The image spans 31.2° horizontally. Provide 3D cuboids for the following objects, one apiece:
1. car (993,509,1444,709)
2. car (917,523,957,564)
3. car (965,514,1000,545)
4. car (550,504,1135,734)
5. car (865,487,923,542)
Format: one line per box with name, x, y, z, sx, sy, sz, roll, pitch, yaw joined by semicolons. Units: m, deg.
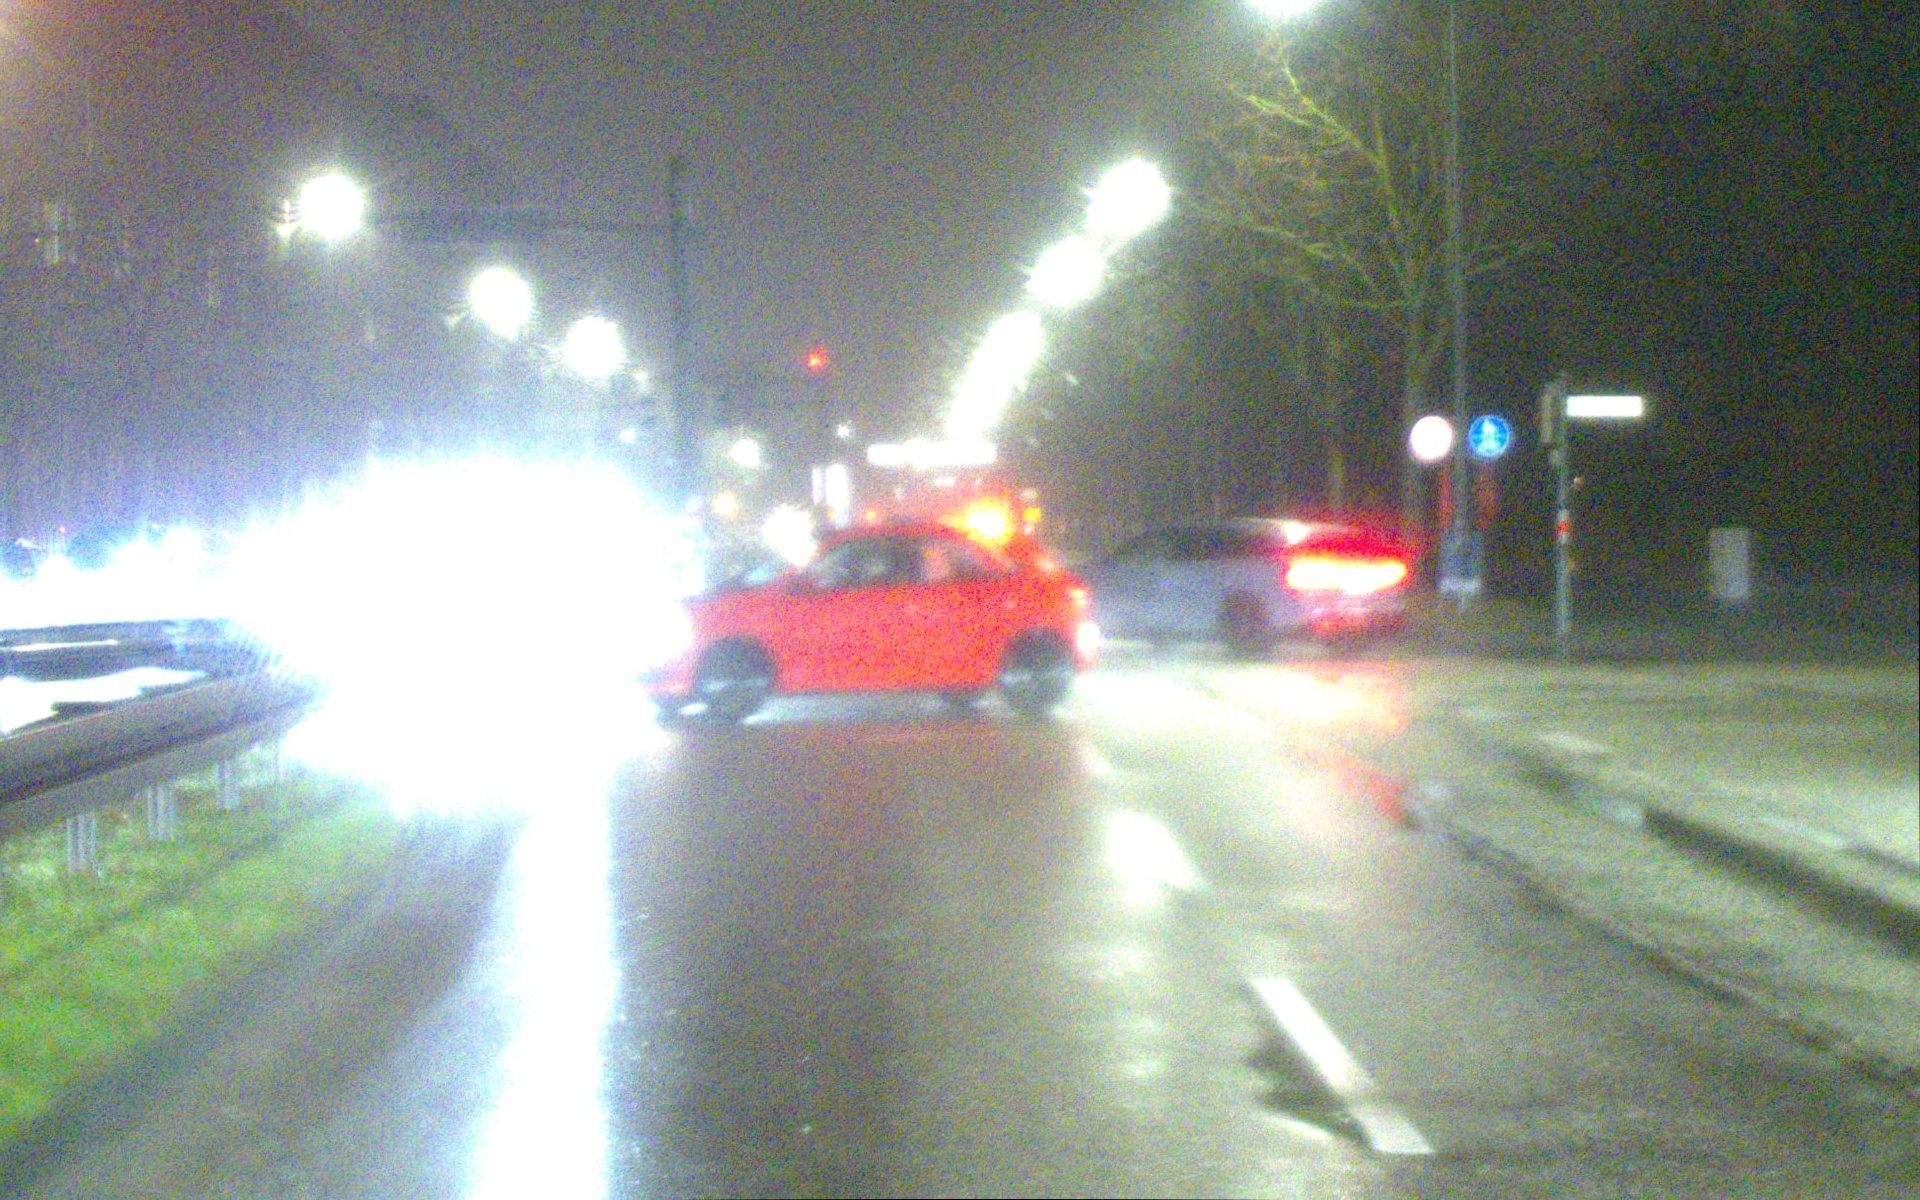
car;2.880;0.054;39.258;2.136;2.137;4.925;0;1;-44
car;-1.109;-2.663;161.884;1.791;1.868;4.627;1;1;-1
car;1.308;-4.137;203.339;1.993;1.753;4.000;1;1;-1
car;-0.914;0.097;26.553;4.067;1.582;1.913;-2;2;-22
car;-2.546;-3.268;132.156;1.993;2.007;4.633;1;1;-4
